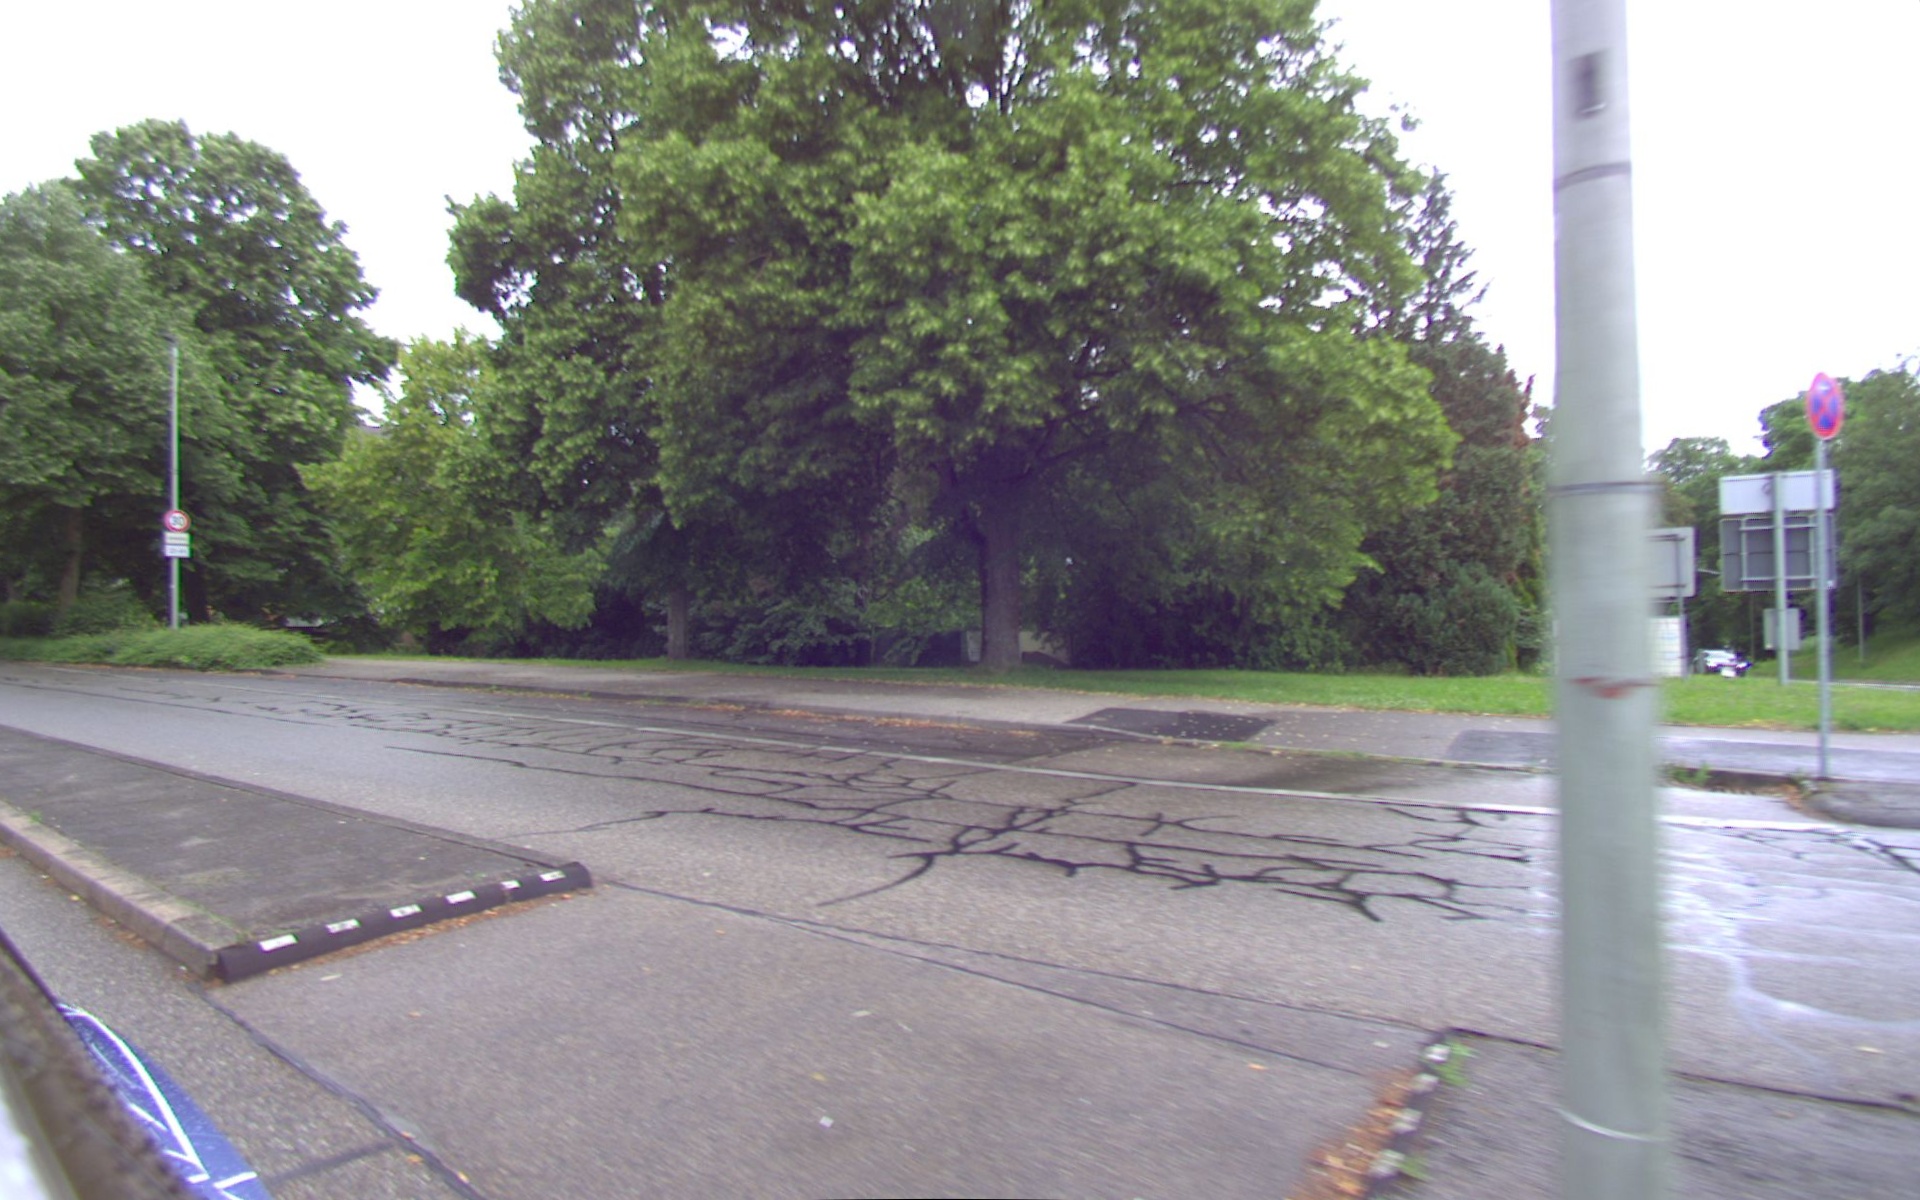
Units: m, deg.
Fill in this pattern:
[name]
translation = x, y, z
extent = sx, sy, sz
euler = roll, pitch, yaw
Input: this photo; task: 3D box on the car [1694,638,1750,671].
[car]
translation = 40.988, 2.917, 54.508
extent = 1.706, 1.430, 3.964
euler = 0, 1, 27
